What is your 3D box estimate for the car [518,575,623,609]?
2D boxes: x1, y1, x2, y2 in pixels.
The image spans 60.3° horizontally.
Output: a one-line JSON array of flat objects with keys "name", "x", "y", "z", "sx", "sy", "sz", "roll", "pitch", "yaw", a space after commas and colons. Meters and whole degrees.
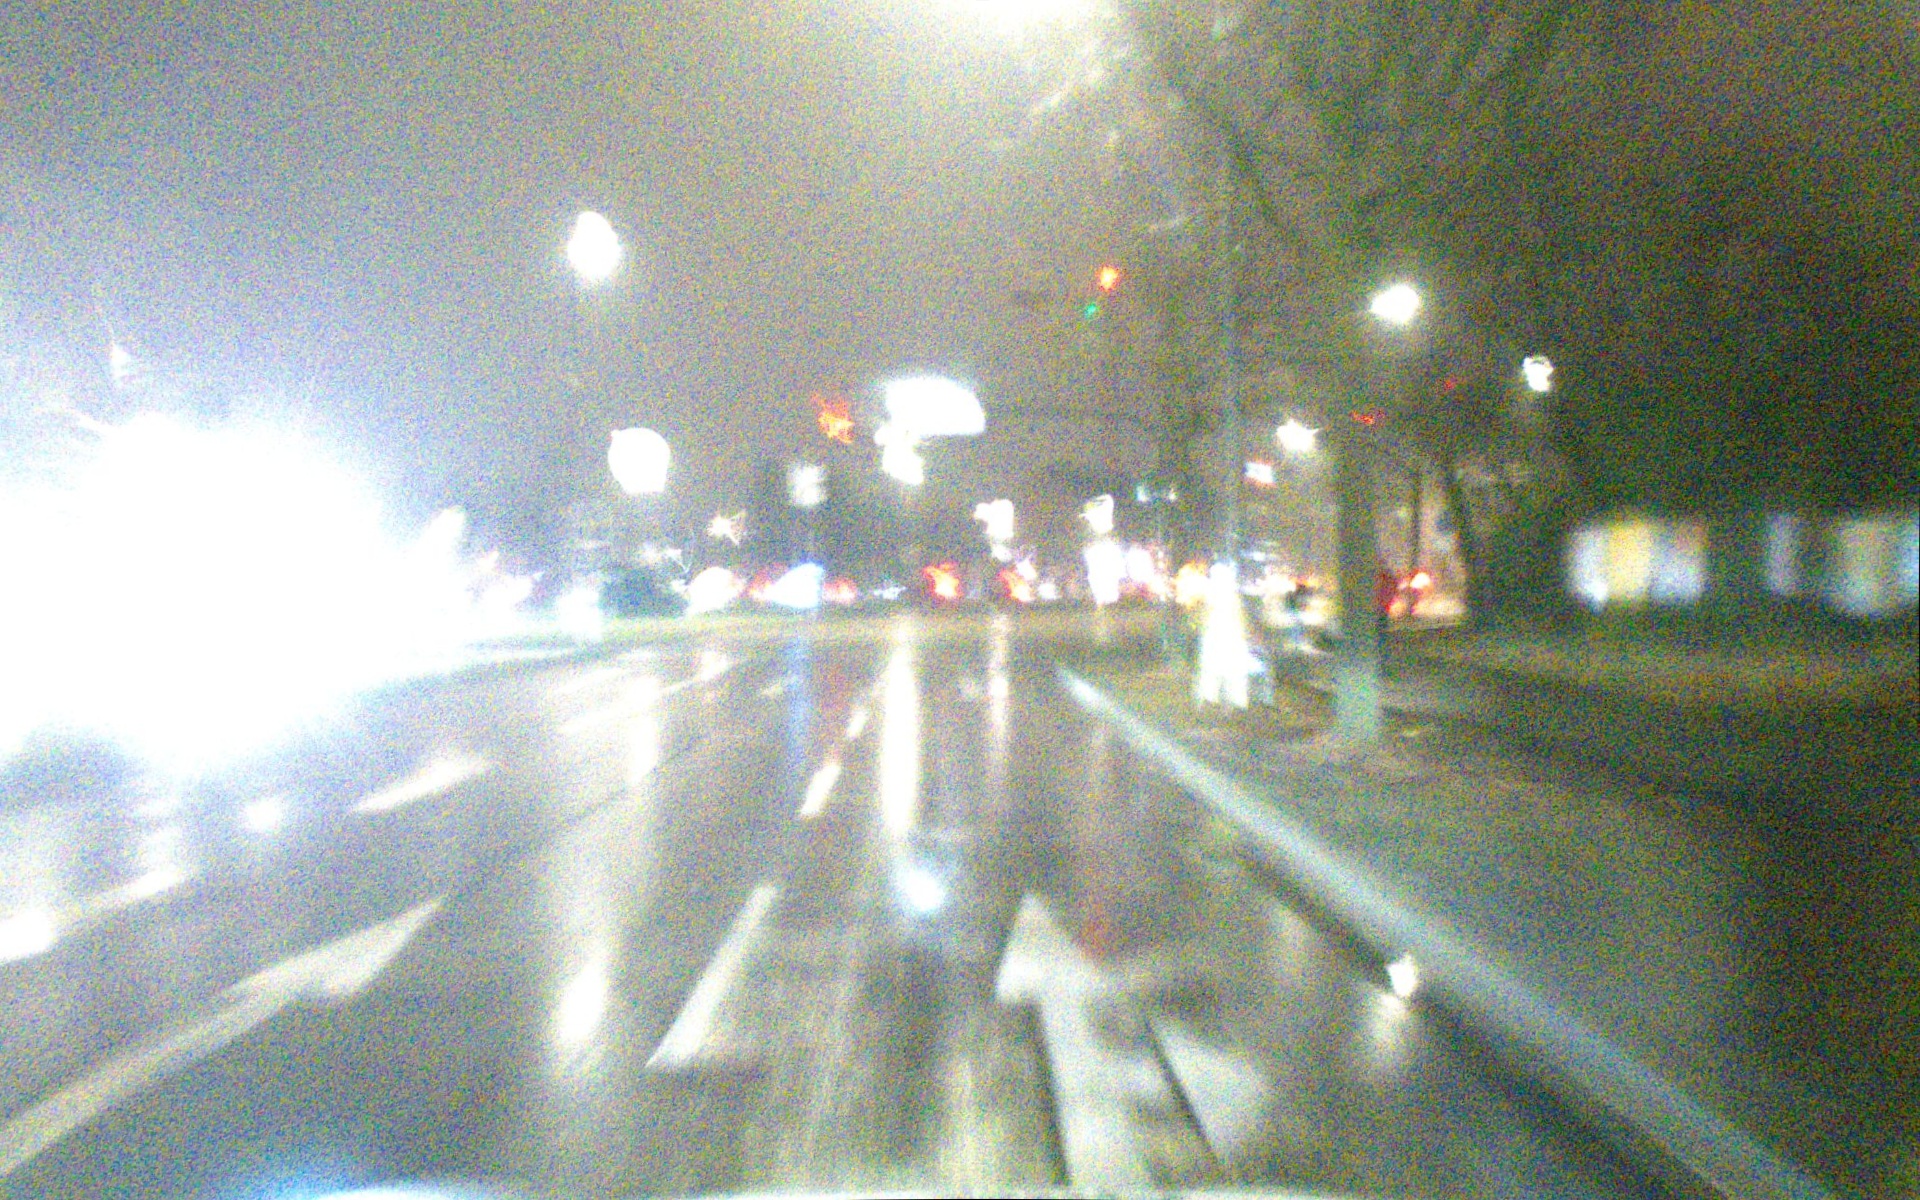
[{"name": "car", "x": -25.054, "y": -0.515, "z": 106.358, "sx": 6.215, "sy": 2.125, "sz": 2.495, "roll": 0, "pitch": 0, "yaw": -26}]

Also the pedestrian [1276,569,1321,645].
[{"name": "pedestrian", "x": 6.782, "y": 0.140, "z": 33.190, "sx": 0.711, "sy": 1.511, "sz": 0.836, "roll": 0, "pitch": 0, "yaw": -1}]

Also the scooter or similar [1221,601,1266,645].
[{"name": "scooter or similar", "x": 7.272, "y": 0.591, "z": 42.413, "sx": 1.079, "sy": 1.117, "sz": 0.317, "roll": -2, "pitch": -1, "yaw": 28}]

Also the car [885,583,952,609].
[{"name": "car", "x": -2.685, "y": -0.290, "z": 107.064, "sx": 3.908, "sy": 1.644, "sz": 1.835, "roll": 0, "pitch": 0, "yaw": 25}]

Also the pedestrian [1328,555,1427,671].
[{"name": "pedestrian", "x": 6.751, "y": 0.201, "z": 26.828, "sx": 1.202, "sy": 1.825, "sz": 1.490, "roll": 0, "pitch": 0, "yaw": -1}]

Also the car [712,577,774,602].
[{"name": "car", "x": -14.181, "y": -0.681, "z": 108.343, "sx": 3.873, "sy": 1.606, "sz": 1.736, "roll": 0, "pitch": 0, "yaw": -3}]

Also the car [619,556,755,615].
[{"name": "car", "x": -9.654, "y": -0.504, "z": 58.733, "sx": 4.448, "sy": 2.049, "sz": 2.001, "roll": 0, "pitch": 0, "yaw": 2}]

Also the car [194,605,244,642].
[{"name": "car", "x": -37.583, "y": 1.156, "z": 83.975, "sx": 2.027, "sy": 1.762, "sz": 5.100, "roll": 0, "pitch": 1, "yaw": -21}]

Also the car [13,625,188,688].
[{"name": "car", "x": -22.305, "y": 1.422, "z": 43.212, "sx": 1.953, "sy": 1.426, "sz": 5.348, "roll": 0, "pitch": 1, "yaw": -2}]

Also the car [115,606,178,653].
[{"name": "car", "x": -32.602, "y": 1.131, "z": 66.377, "sx": 2.036, "sy": 1.746, "sz": 5.003, "roll": 0, "pitch": 1, "yaw": -24}]
